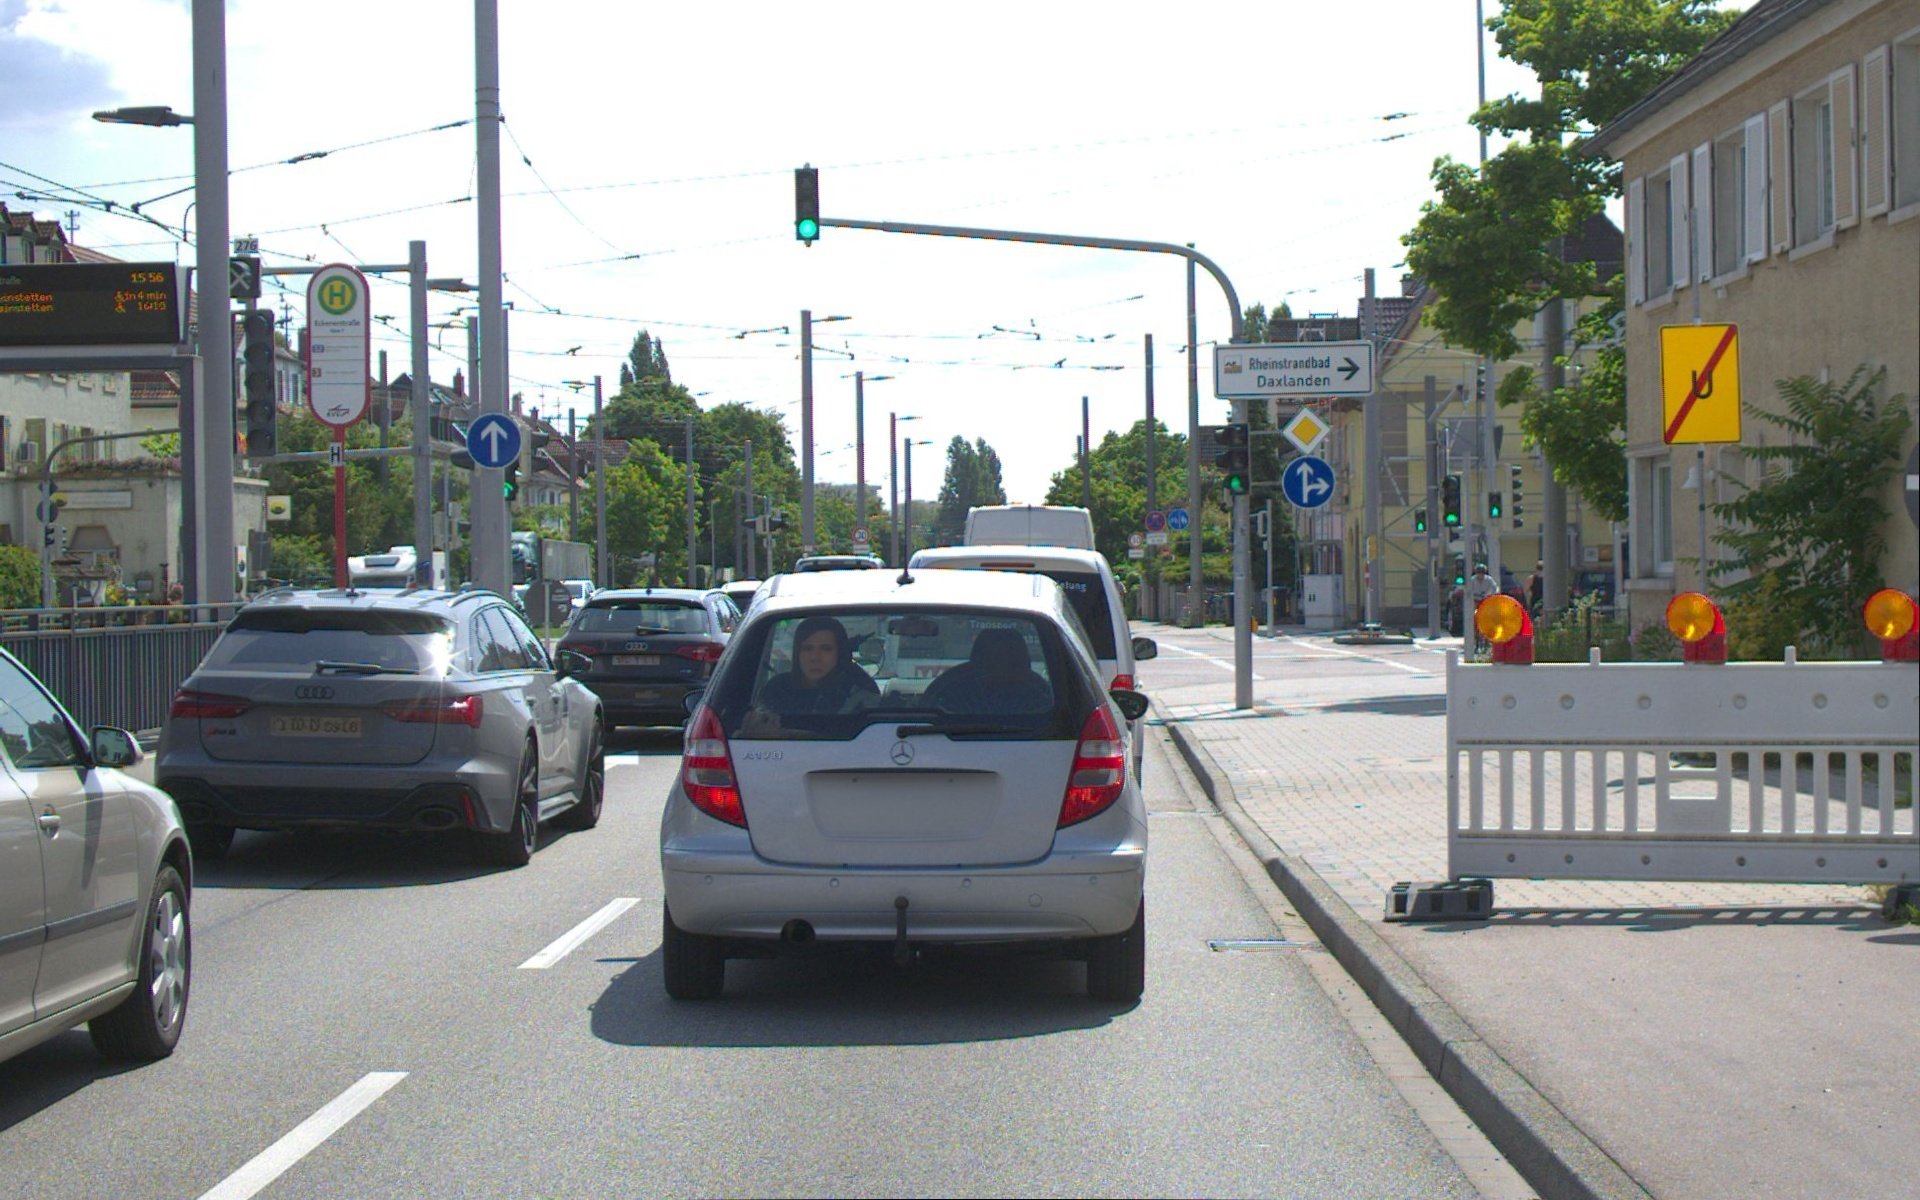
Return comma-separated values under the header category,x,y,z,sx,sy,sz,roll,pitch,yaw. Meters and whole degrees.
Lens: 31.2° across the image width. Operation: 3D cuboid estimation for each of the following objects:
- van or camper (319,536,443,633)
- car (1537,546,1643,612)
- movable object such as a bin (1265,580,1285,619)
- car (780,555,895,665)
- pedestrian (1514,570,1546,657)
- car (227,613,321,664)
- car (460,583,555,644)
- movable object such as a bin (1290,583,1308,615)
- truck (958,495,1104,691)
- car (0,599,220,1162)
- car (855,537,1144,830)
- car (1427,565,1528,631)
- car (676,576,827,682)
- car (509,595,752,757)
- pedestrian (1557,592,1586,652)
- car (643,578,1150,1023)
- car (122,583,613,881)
category,x,y,z,sx,sy,sz,roll,pitch,yaw
van or camper,-18.337,-0.499,109.335,2.324,2.920,7.754,-2,0,2
car,15.812,-0.521,86.448,1.993,1.590,4.131,1,0,2
movable object such as a bin,8.922,-0.014,97.352,0.511,1.101,0.855,0,0,2
car,-2.090,0.174,59.757,1.852,1.837,3.918,1,0,0
pedestrian,10.851,0.255,65.472,0.547,1.638,0.401,1,0,6
car,-19.031,1.058,95.512,1.684,1.347,4.345,1,0,0
car,-14.190,0.402,108.023,1.994,1.770,4.877,-2,0,4
movable object such as a bin,10.170,-0.020,103.085,0.468,0.943,0.558,-1,0,1
truck,0.928,-0.082,48.121,1.852,2.543,5.855,1,0,0
car,-3.319,0.710,9.195,1.731,1.444,4.123,1,0,1
car,0.210,0.517,22.909,1.730,1.756,4.016,1,0,-1
car,12.977,-0.037,86.386,1.993,1.590,4.131,1,0,2
car,-2.829,0.388,47.393,1.852,1.384,3.918,1,0,0
car,-3.006,0.672,32.215,1.852,1.384,4.514,1,0,0
pedestrian,11.676,0.424,65.660,0.488,1.132,0.389,1,0,4
car,-0.249,0.700,13.889,1.730,1.512,4.016,1,0,-1
car,-3.217,0.663,19.595,1.916,1.472,4.562,1,0,1
